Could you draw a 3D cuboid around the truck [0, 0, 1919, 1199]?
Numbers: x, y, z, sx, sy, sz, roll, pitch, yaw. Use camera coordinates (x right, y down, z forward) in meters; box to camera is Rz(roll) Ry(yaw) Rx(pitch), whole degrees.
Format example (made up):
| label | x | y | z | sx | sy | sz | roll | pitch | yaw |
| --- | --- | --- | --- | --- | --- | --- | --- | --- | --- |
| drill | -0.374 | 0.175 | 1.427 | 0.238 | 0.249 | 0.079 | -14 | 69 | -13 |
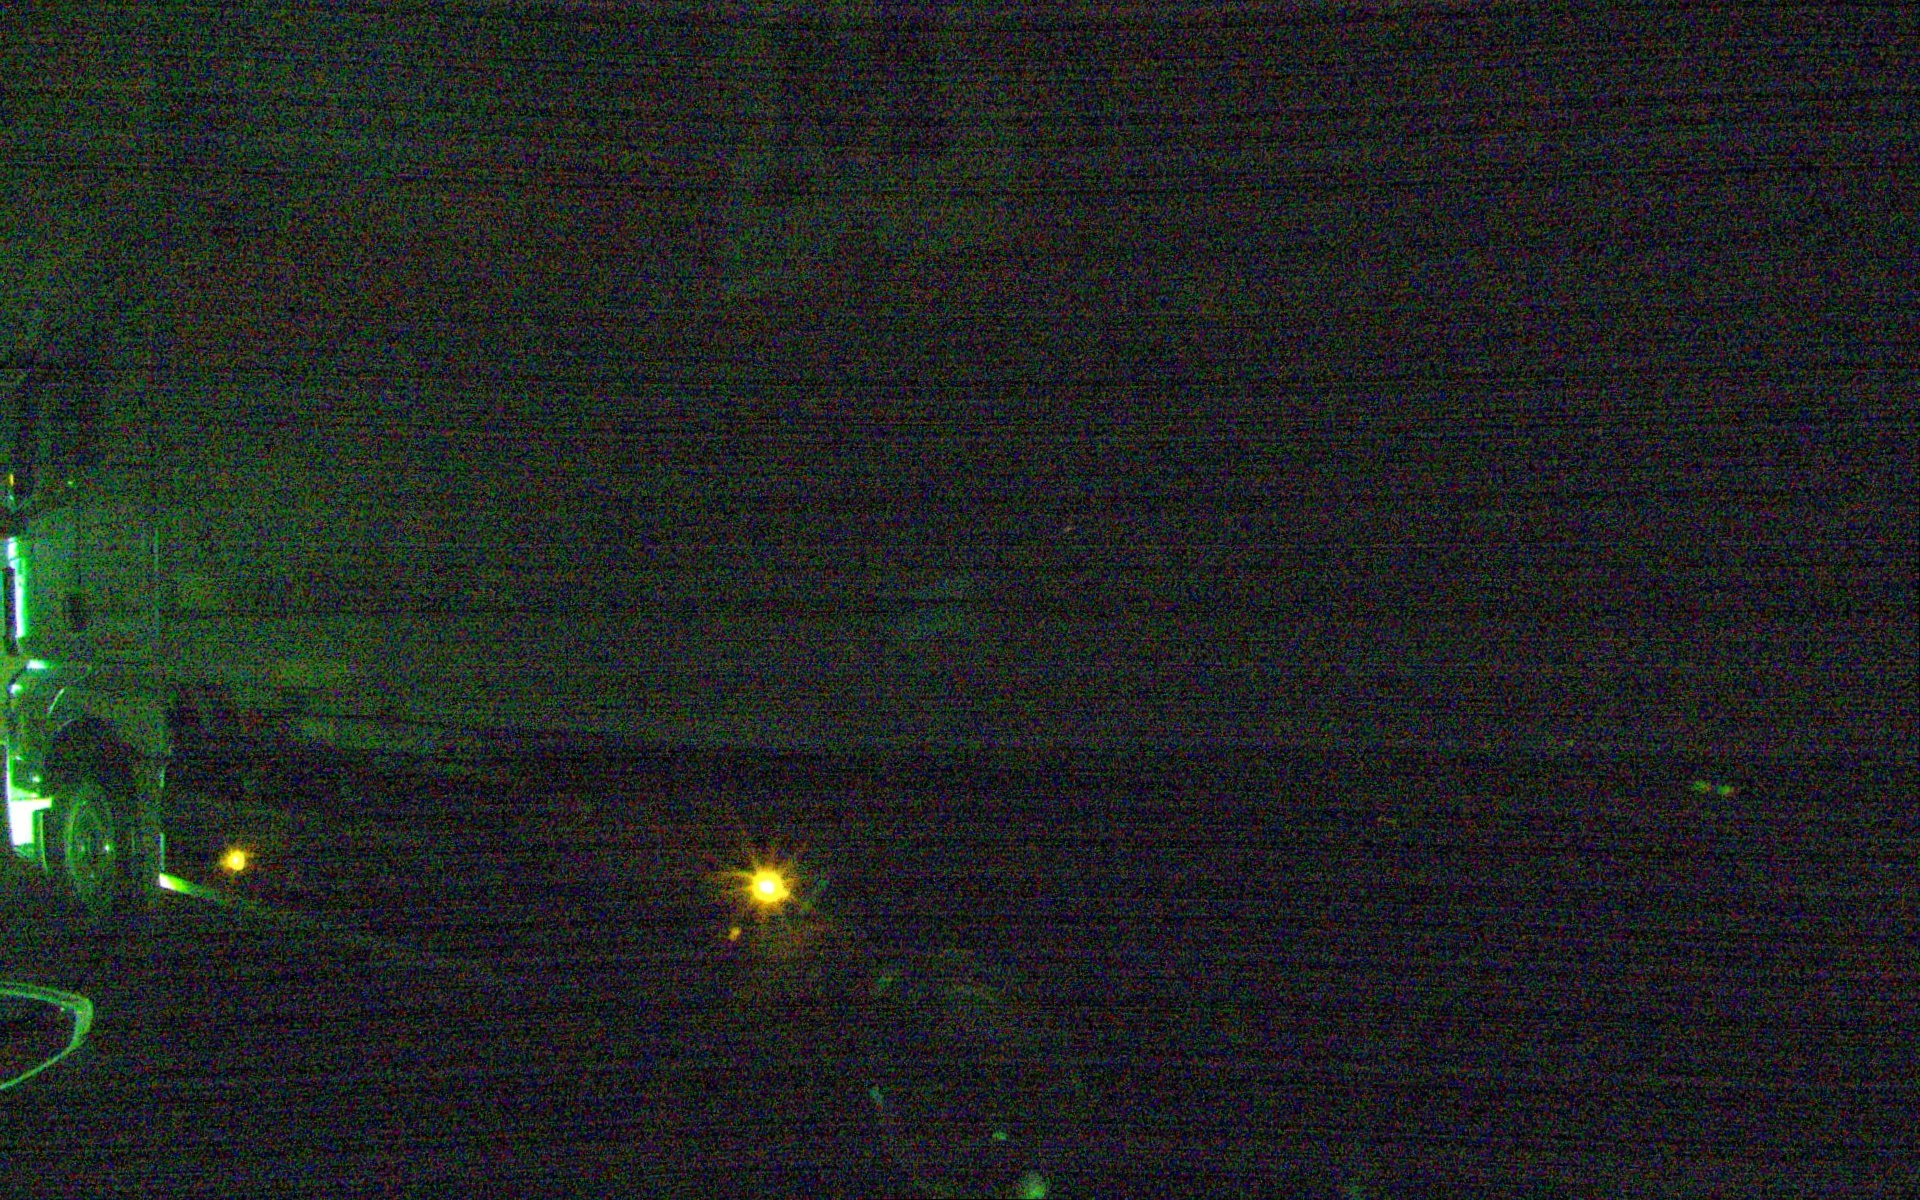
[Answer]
| label | x | y | z | sx | sy | sz | roll | pitch | yaw |
| --- | --- | --- | --- | --- | --- | --- | --- | --- | --- |
| truck | -0.402 | -0.521 | 3.797 | 9.763 | 3.964 | 2.885 | 0 | -1 | 31 |
